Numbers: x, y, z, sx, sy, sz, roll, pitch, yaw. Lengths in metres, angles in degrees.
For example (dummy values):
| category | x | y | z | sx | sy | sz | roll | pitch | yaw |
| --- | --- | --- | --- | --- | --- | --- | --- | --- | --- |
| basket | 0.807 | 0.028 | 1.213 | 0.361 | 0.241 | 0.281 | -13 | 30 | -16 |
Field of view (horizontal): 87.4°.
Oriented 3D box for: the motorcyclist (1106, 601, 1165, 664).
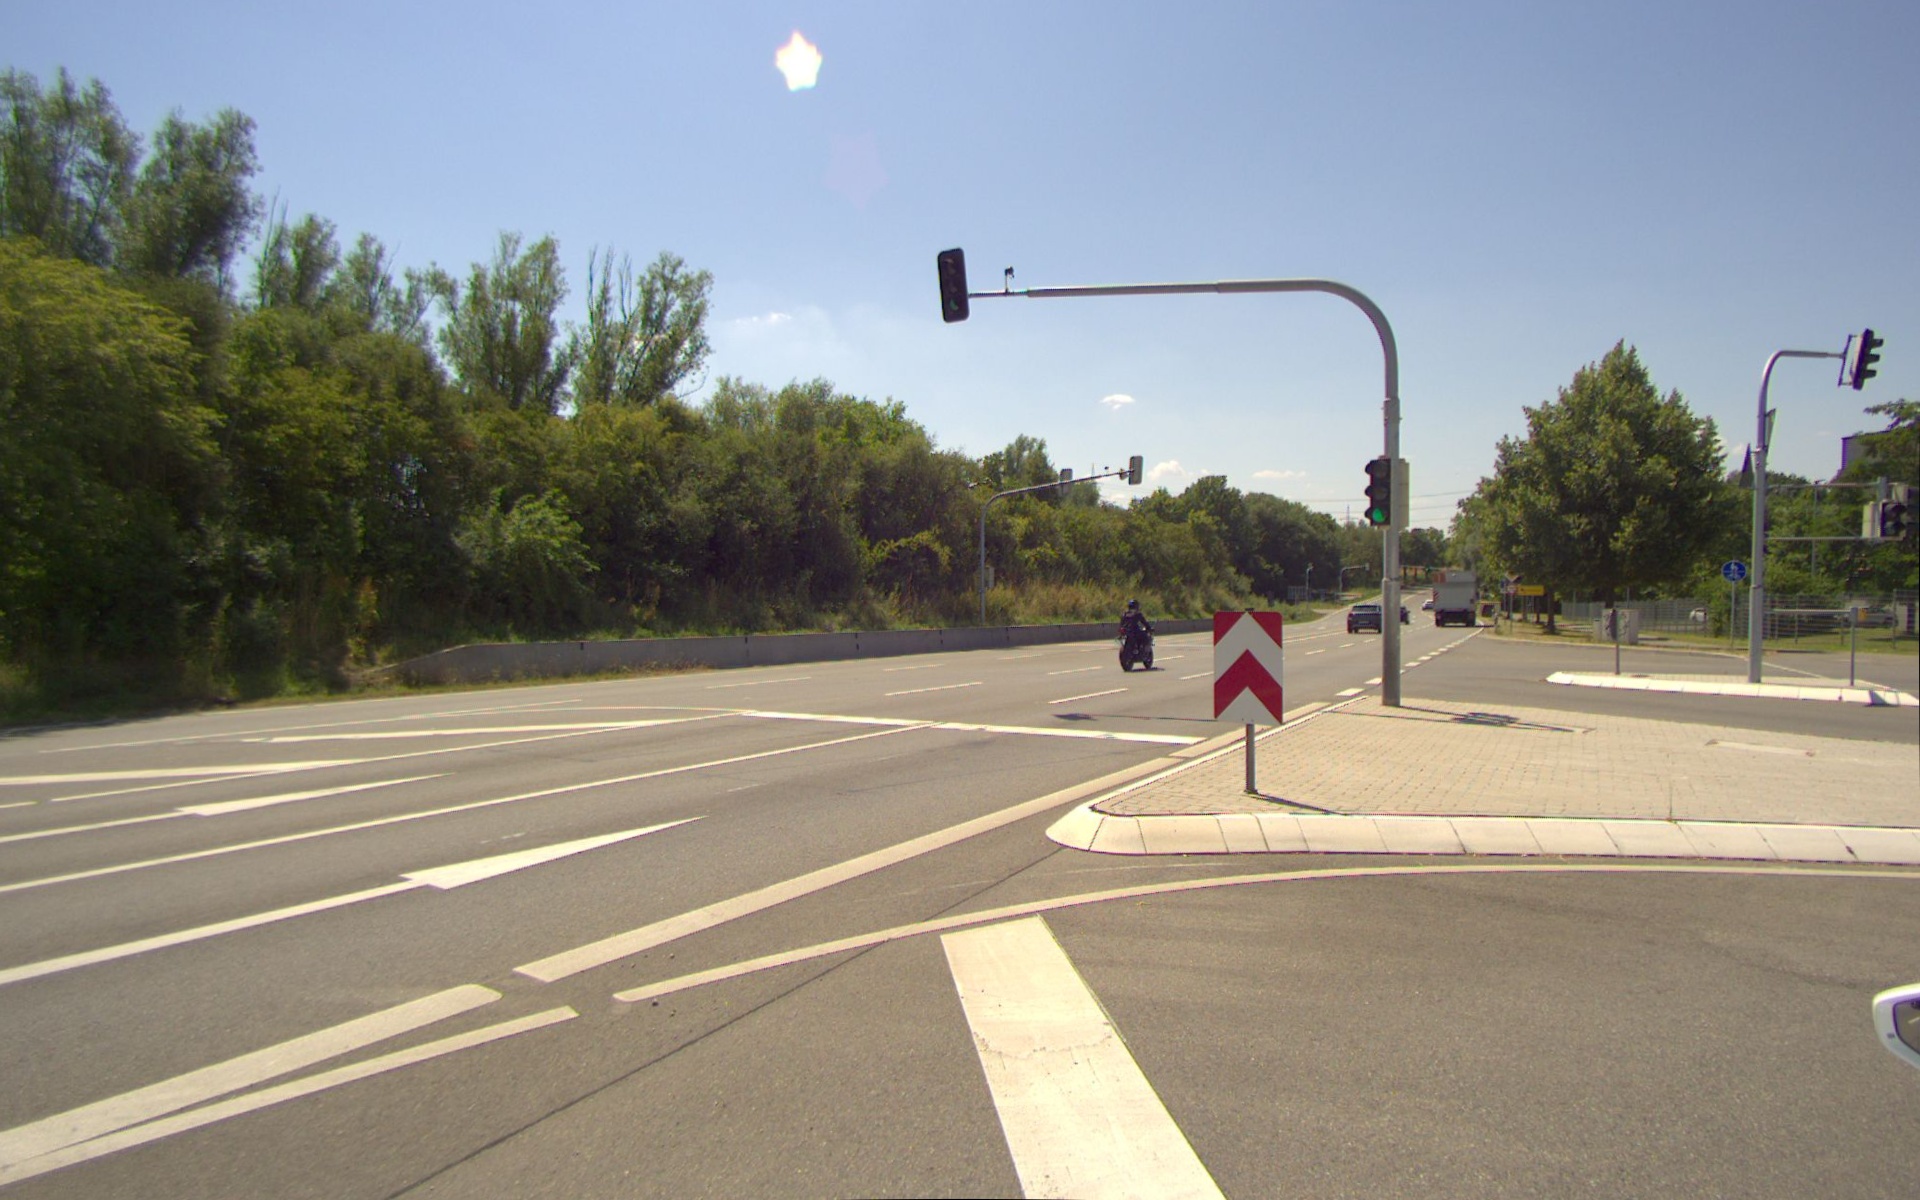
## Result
| category | x | y | z | sx | sy | sz | roll | pitch | yaw |
| --- | --- | --- | --- | --- | --- | --- | --- | --- | --- |
| motorcyclist | 4.070 | 0.747 | 23.249 | 0.862 | 1.431 | 1.170 | 0 | -1 | 41 |

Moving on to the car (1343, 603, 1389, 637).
| category | x | y | z | sx | sy | sz | roll | pitch | yaw |
| --- | --- | --- | --- | --- | --- | --- | --- | --- | --- |
| car | 21.861 | 1.075 | 54.010 | 1.963 | 1.773 | 3.996 | 0 | -1 | 26 |

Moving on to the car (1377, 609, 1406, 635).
| category | x | y | z | sx | sy | sz | roll | pitch | yaw |
| --- | --- | --- | --- | --- | --- | --- | --- | --- | --- |
| car | 33.919 | 1.735 | 78.906 | 1.963 | 2.040 | 3.996 | 0 | -1 | 26 |

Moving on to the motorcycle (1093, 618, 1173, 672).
| category | x | y | z | sx | sy | sz | roll | pitch | yaw |
| --- | --- | --- | --- | --- | --- | --- | --- | --- | --- |
| motorcycle | 4.019 | 1.017 | 23.190 | 0.850 | 1.157 | 2.159 | 0 | 0 | 40 |

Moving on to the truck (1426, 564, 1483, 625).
| category | x | y | z | sx | sy | sz | roll | pitch | yaw |
| --- | --- | --- | --- | --- | --- | --- | --- | --- | --- |
| truck | 33.571 | -0.286 | 68.034 | 3.218 | 3.891 | 6.193 | 0 | -1 | 29 |
